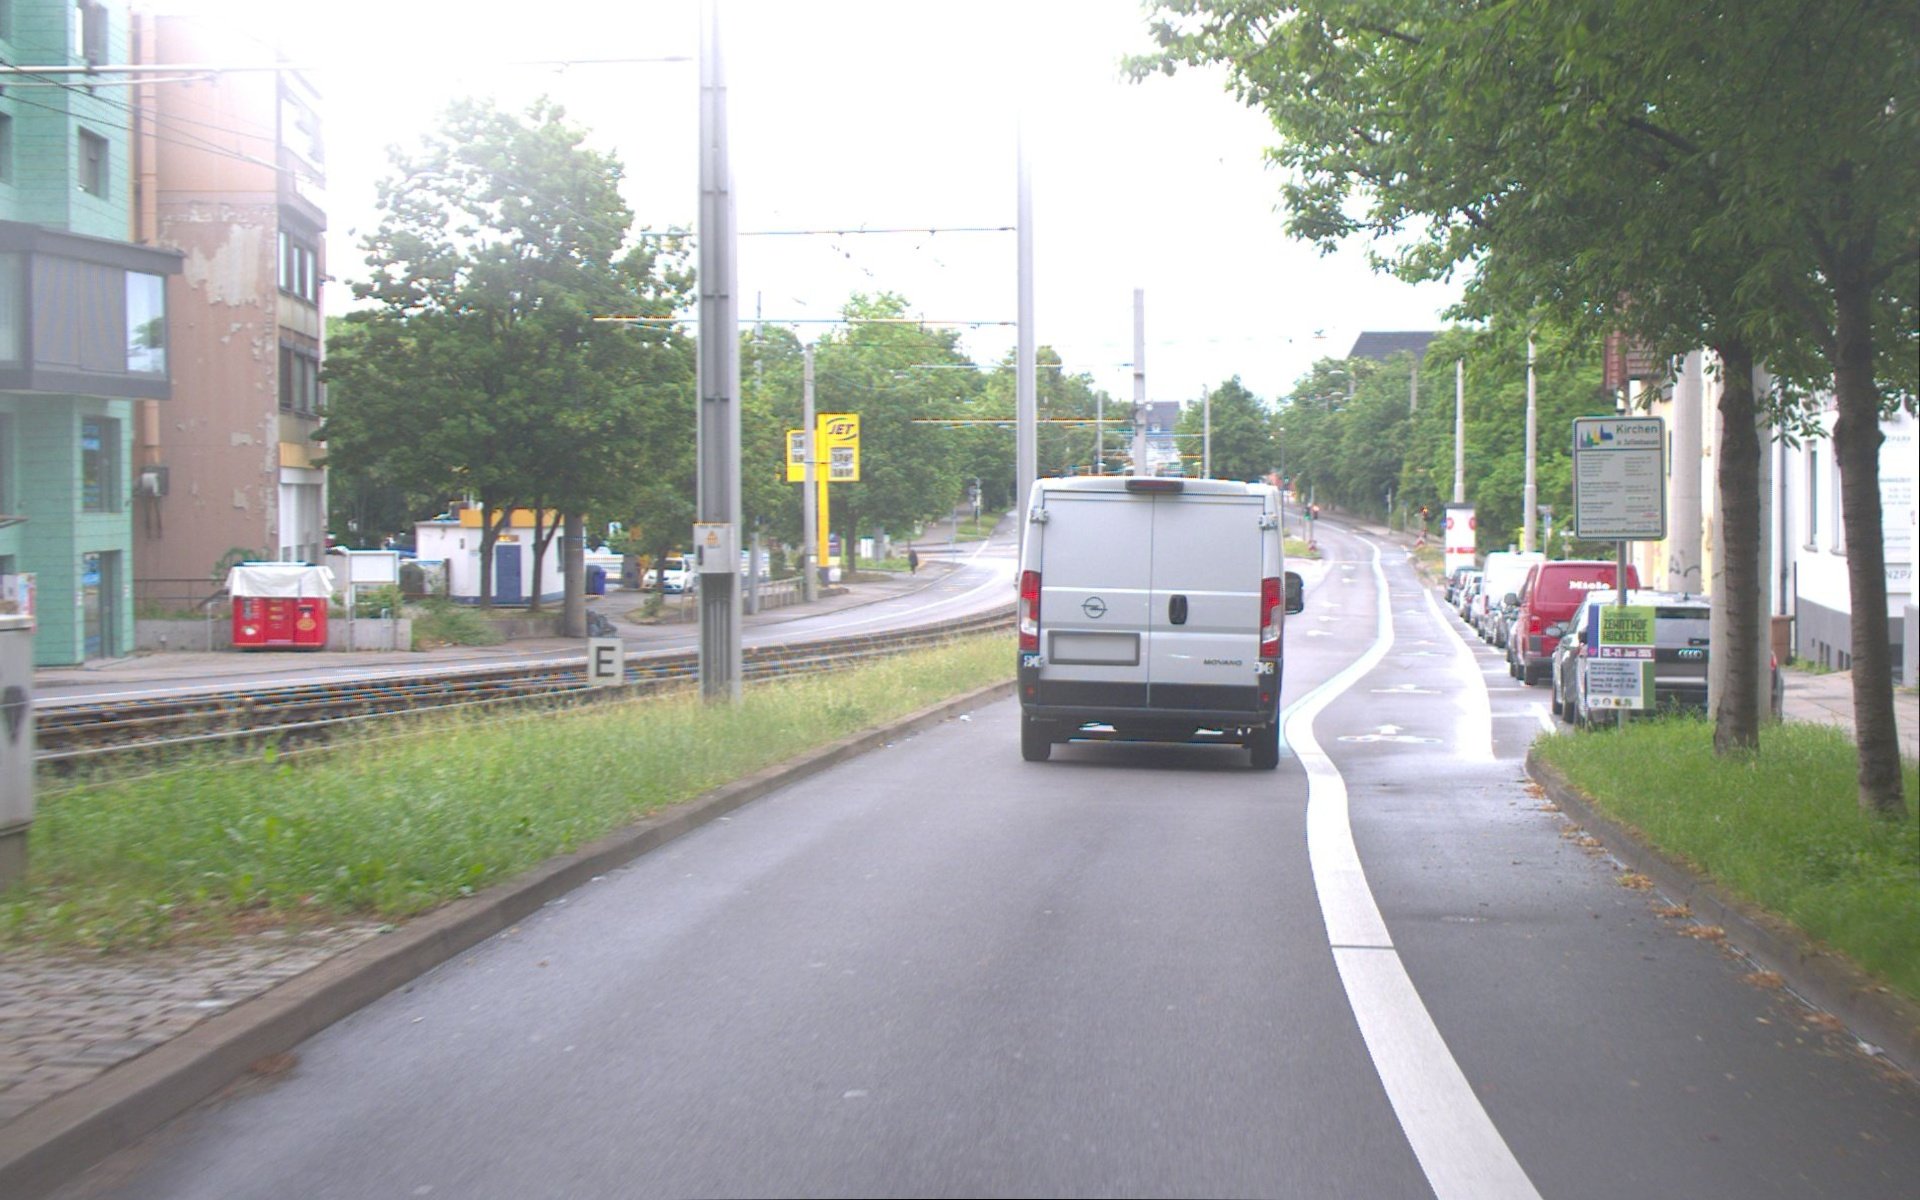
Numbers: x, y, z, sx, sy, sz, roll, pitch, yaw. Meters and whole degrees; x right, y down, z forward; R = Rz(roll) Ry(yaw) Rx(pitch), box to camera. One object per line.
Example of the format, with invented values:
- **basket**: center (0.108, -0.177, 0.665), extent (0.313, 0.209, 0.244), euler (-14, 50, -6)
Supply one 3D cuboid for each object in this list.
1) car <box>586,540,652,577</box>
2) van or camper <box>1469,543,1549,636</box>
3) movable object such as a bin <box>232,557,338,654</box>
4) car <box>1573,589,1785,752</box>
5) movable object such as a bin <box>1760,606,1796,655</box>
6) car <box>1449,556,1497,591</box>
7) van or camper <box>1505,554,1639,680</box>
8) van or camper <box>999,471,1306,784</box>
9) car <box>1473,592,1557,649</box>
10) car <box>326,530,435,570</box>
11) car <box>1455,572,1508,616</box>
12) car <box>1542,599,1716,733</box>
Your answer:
- **car**: center (-14.130, -1.705, 142.647), extent (1.994, 1.437, 3.999), euler (2, 0, 4)
- **van or camper**: center (16.320, -0.354, 102.457), extent (1.994, 2.554, 6.042), euler (2, 2, 6)
- **movable object such as a bin**: center (-15.905, 0.110, 81.064), extent (2.133, 2.149, 1.802), euler (2, 2, -2)
- **car**: center (6.840, 0.622, 33.072), extent (1.677, 1.418, 4.564), euler (1, 0, 8)
- **movable object such as a bin**: center (14.934, 0.557, 62.799), extent (0.587, 0.876, 0.448), euler (0, 0, 6)
- **car**: center (22.764, -1.197, 152.554), extent (1.848, 1.494, 3.954), euler (2, 1, 5)
- **van or camper**: center (9.713, 0.239, 54.843), extent (1.851, 1.913, 4.993), euler (0, 0, 7)
- **van or camper**: center (1.553, 0.188, 27.932), extent (2.199, 2.245, 4.683), euler (2, 0, 3)
- **car**: center (15.438, 0.546, 95.866), extent (1.788, 1.401, 4.552), euler (2, 1, 3)
- **car**: center (-21.488, -1.854, 127.494), extent (3.763, 1.448, 1.552), euler (0, 1, -19)
- **car**: center (18.704, -0.220, 123.389), extent (1.646, 1.441, 3.953), euler (2, 1, 6)
- **car**: center (7.595, 0.705, 39.337), extent (1.712, 1.407, 4.564), euler (1, 0, 8)
